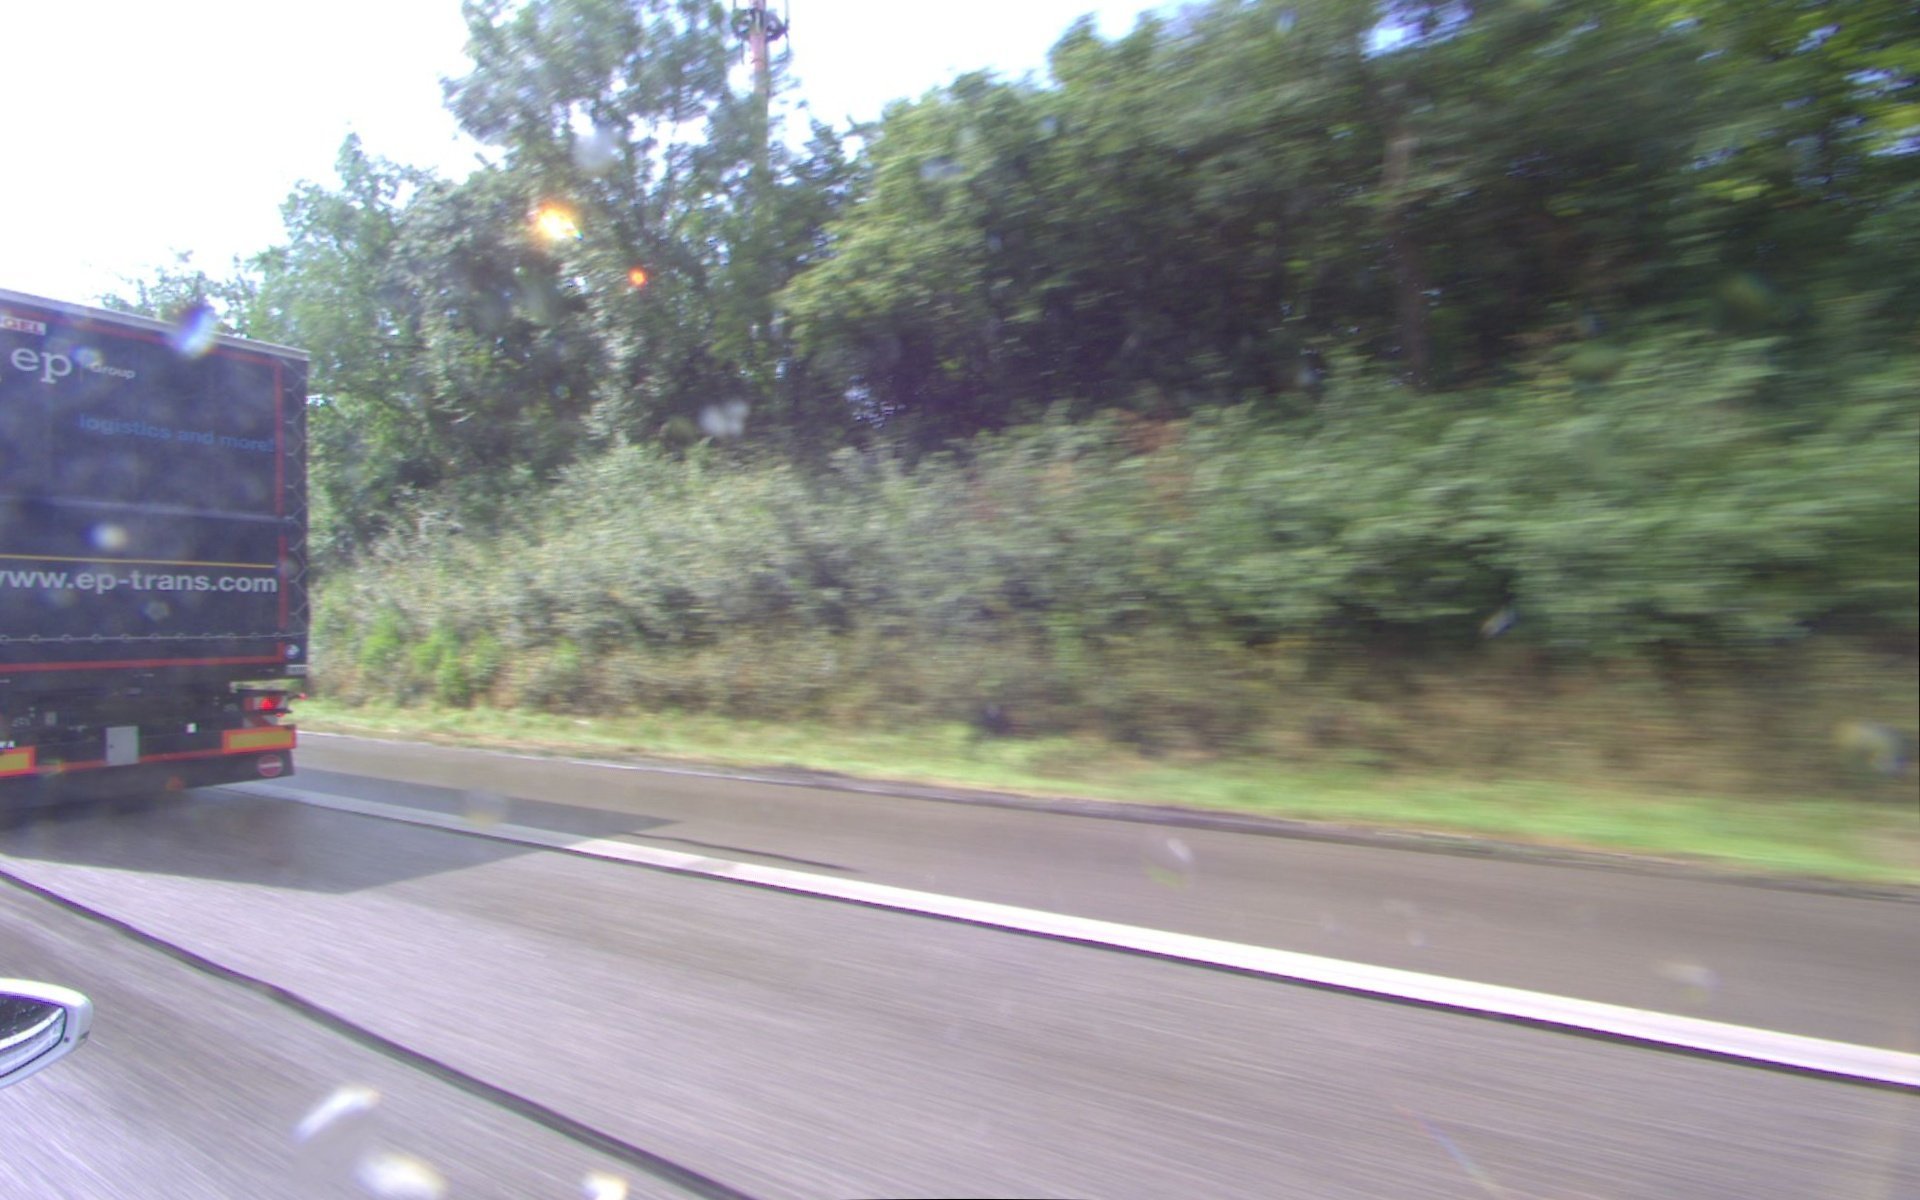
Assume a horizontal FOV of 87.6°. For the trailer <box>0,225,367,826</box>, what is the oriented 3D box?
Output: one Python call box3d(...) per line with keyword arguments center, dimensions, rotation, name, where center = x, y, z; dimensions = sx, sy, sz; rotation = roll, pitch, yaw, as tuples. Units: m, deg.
box3d(center=(-12.268, -0.406, 11.921), dimensions=(13.905, 4.368, 3.082), rotation=(-1, -1, 33), name="trailer")
